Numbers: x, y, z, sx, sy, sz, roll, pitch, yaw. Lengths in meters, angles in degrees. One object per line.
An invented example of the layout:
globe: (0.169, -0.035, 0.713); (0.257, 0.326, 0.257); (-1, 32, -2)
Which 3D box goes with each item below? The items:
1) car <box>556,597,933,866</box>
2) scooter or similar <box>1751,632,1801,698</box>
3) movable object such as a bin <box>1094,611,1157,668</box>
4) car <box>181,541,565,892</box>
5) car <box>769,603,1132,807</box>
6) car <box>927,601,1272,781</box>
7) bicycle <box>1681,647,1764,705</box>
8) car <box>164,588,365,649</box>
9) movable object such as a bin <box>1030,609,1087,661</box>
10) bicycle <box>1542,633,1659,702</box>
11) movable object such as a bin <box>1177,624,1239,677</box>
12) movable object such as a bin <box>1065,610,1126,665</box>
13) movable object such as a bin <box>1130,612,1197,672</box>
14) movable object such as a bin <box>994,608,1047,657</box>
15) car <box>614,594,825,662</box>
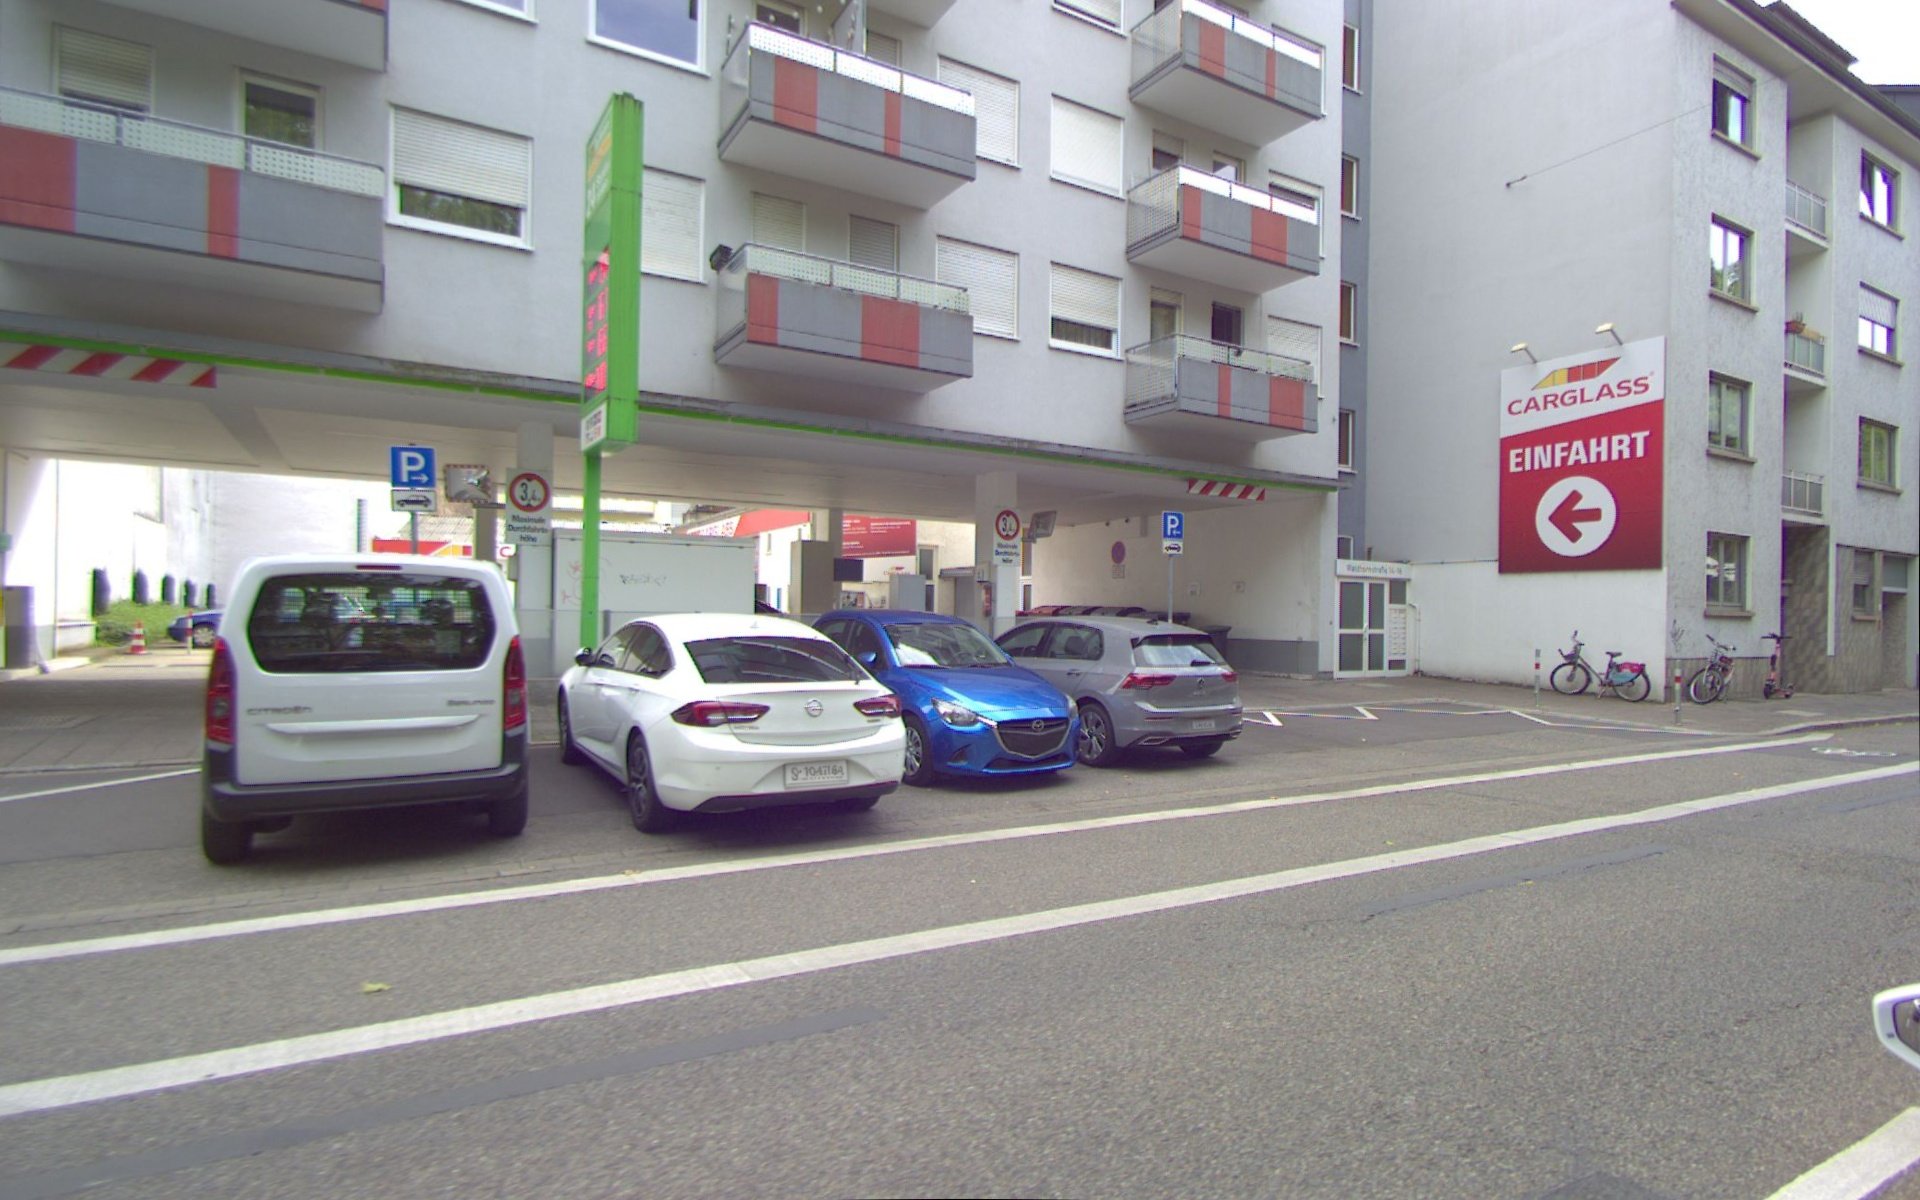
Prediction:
car: (-2.046, 0.794, 8.294); (1.852, 1.470, 4.251); (1, 2, -29)
scooter or similar: (15.749, 1.239, 19.375); (1.188, 1.238, 0.348); (1, 0, -31)
movable object such as a bin: (4.070, 0.959, 24.729); (1.162, 1.370, 1.039); (1, -1, -27)
car: (-4.339, 0.566, 7.648); (1.901, 1.873, 4.191); (1, 2, -29)
car: (-0.352, 0.862, 10.342); (1.888, 1.470, 4.280); (1, 2, -29)
car: (1.381, 0.872, 11.645); (1.815, 1.534, 4.131); (1, 2, -29)
bicycle: (13.549, 1.331, 17.833); (1.643, 0.963, 0.594); (1, 0, -31)
car: (-18.683, 0.499, 27.264); (4.317, 1.542, 1.830); (1, 0, -31)
movable object such as a bin: (2.658, 0.935, 27.074); (1.162, 1.370, 1.039); (1, -1, -27)
bicycle: (11.583, 1.193, 18.217); (0.448, 1.132, 1.763); (1, 0, -30)
movable object such as a bin: (5.504, 1.107, 22.290); (0.962, 1.121, 0.941); (1, -1, -27)
movable object such as a bin: (3.479, 0.950, 25.781); (1.162, 1.370, 1.039); (1, -1, -27)
movable object such as a bin: (4.769, 0.972, 23.570); (1.162, 1.370, 1.039); (1, -1, -27)
movable object such as a bin: (1.716, 0.919, 28.607); (1.162, 1.370, 1.039); (1, -1, -27)
car: (-5.041, 0.582, 21.145); (3.955, 1.315, 1.898); (1, -1, -31)
